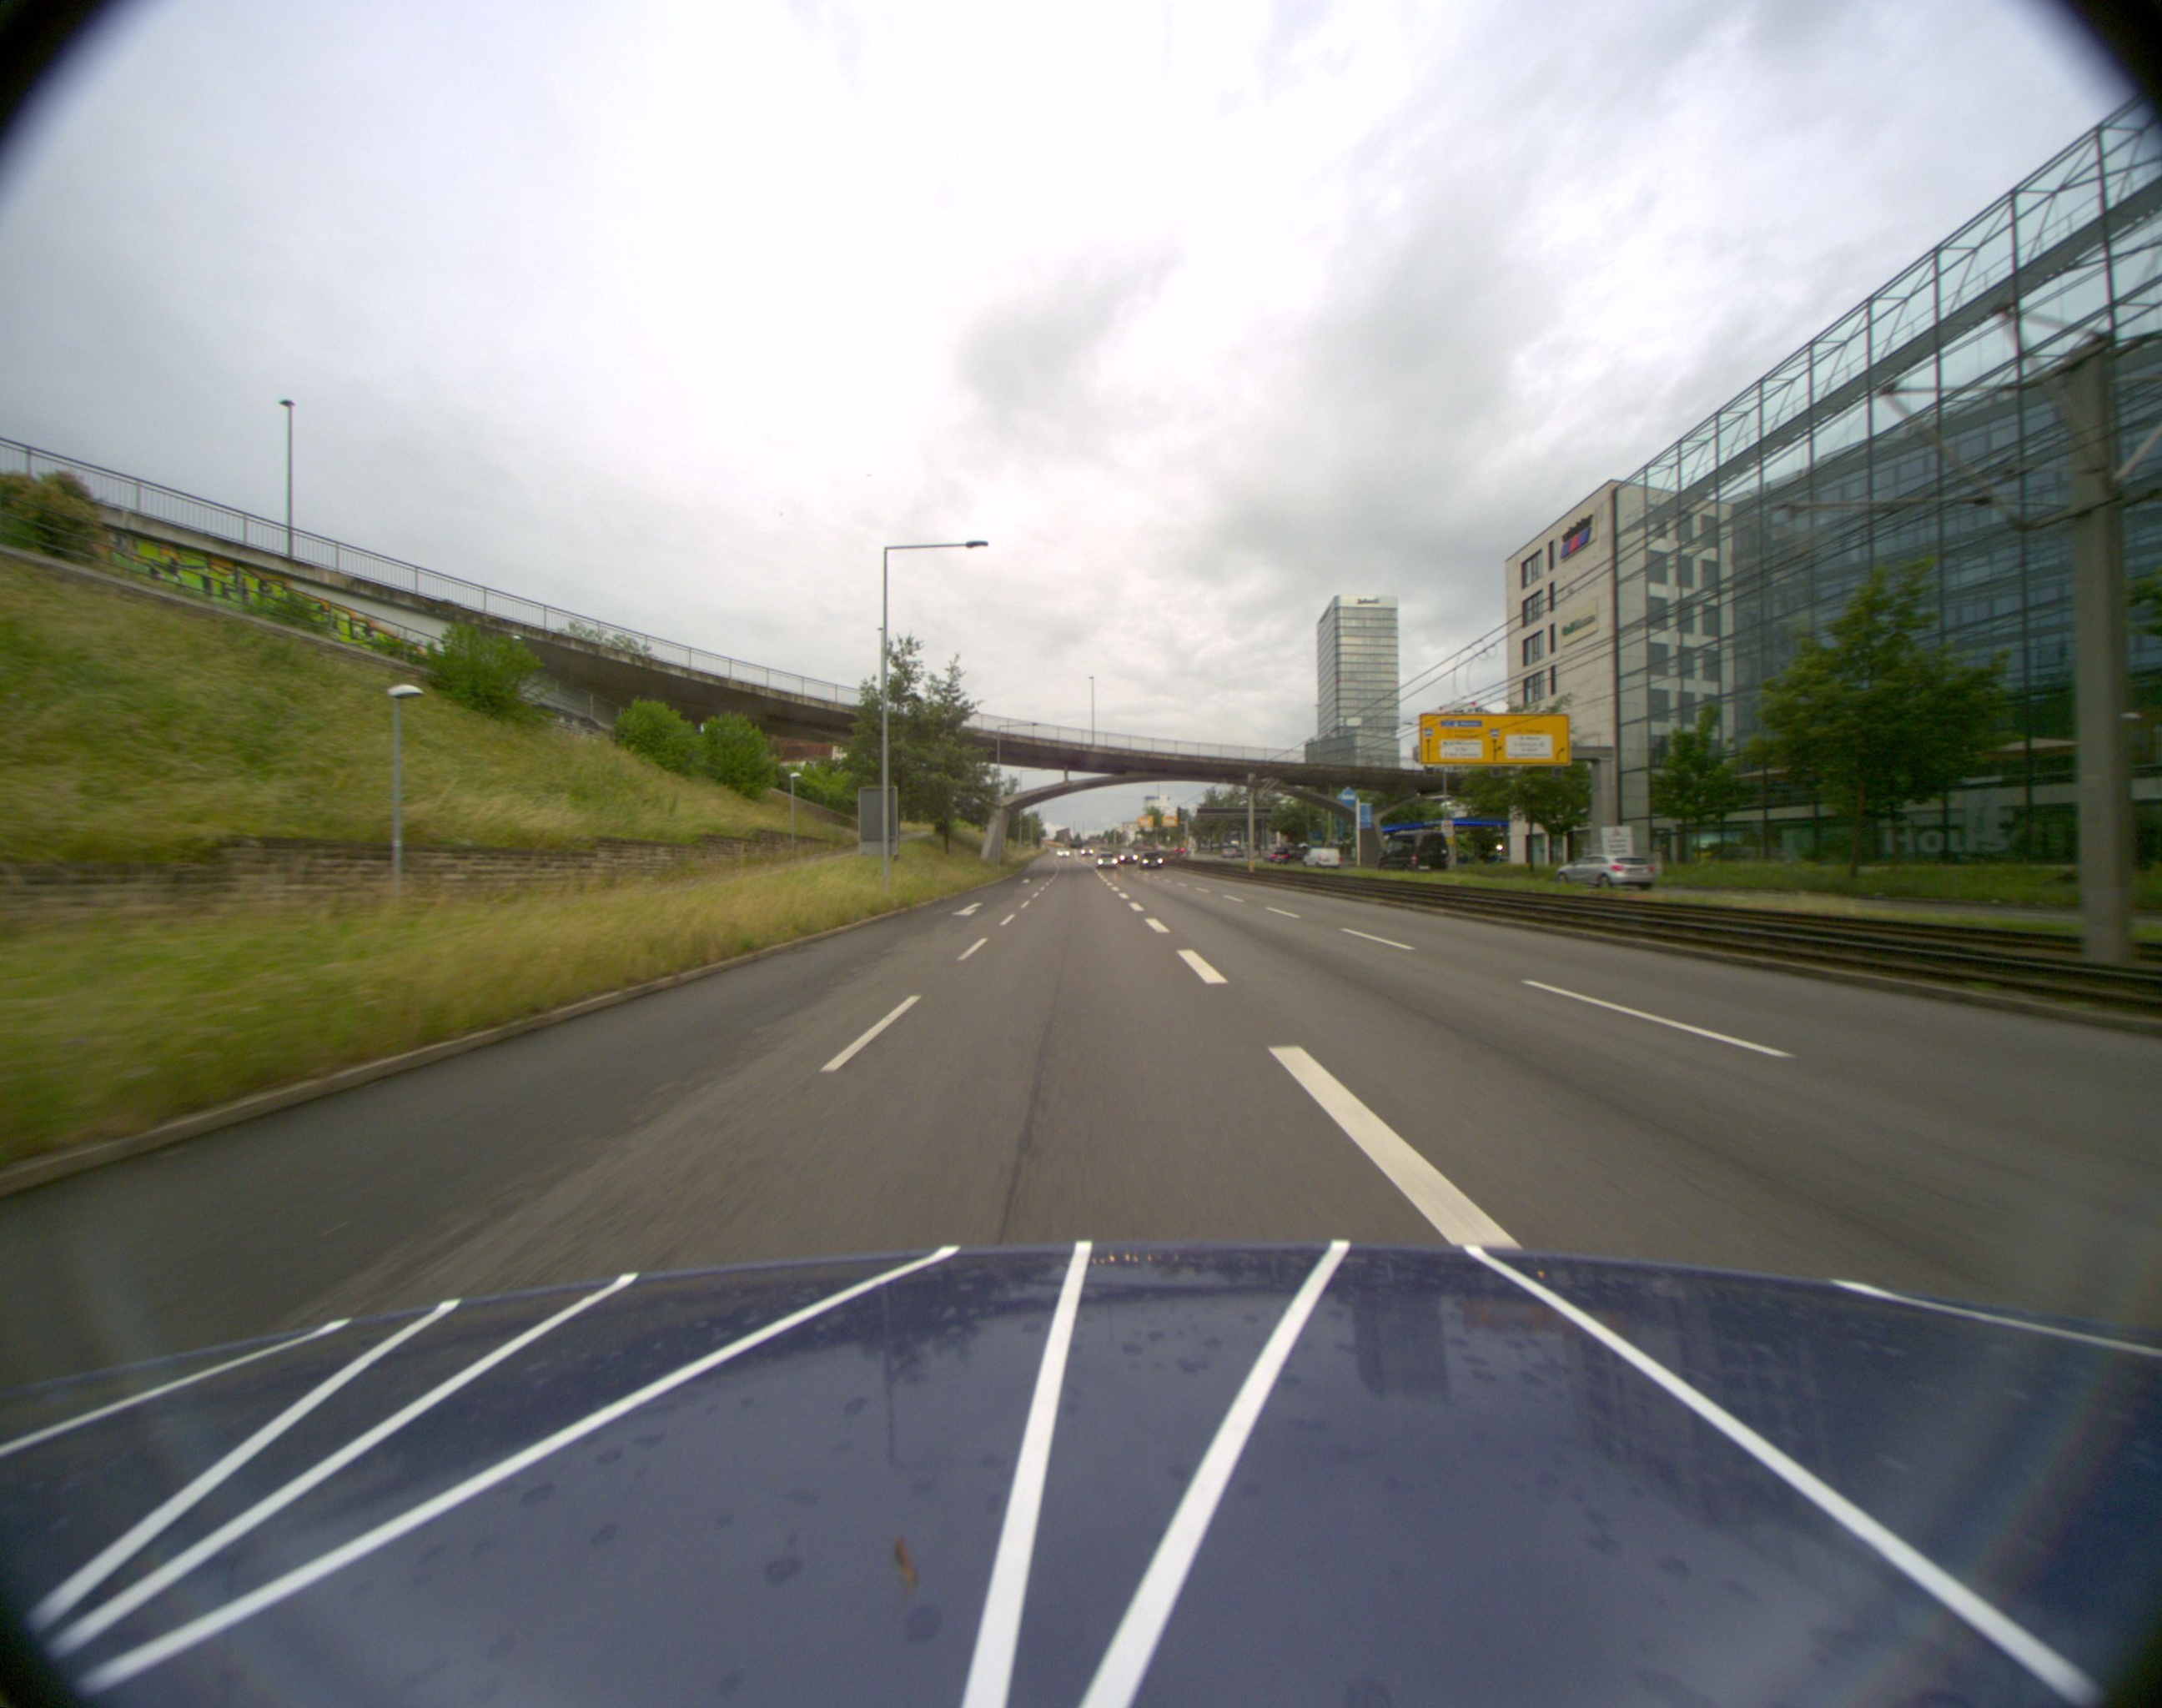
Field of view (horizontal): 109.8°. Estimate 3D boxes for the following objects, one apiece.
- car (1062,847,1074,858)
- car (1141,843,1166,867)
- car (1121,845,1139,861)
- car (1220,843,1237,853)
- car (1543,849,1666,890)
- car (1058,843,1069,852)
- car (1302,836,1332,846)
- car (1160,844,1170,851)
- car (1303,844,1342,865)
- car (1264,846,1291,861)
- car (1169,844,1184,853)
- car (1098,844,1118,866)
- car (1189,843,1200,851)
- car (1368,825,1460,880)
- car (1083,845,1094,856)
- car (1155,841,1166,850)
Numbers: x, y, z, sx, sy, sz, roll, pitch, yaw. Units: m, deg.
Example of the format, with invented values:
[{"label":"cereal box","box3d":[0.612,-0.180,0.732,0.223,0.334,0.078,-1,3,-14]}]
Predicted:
[{"label":"car","box3d":[-2.209,-0.315,130.200,1.794,1.622,4.376,-2,2,2]},{"label":"car","box3d":[6.236,0.052,65.857,1.794,1.858,4.376,-2,2,2]},{"label":"car","box3d":[5.392,-0.126,83.589,1.794,1.536,4.376,-2,2,2]},{"label":"car","box3d":[22.958,-0.905,118.541,1.814,1.524,4.274,-2,1,1]},{"label":"car","box3d":[21.863,0.590,32.027,1.764,1.524,4.816,-2,0,-1]},{"label":"car","box3d":[-3.464,-1.291,150.268,1.794,1.622,4.376,-2,2,2]},{"label":"car","box3d":[38.619,-2.155,124.354,4.363,1.495,1.885,-2,2,3]},{"label":"car","box3d":[18.260,-1.409,165.383,1.768,1.588,4.791,-2,0,1]},{"label":"car","box3d":[21.545,0.036,67.924,1.942,1.751,5.062,-2,0,1]},{"label":"car","box3d":[22.092,-0.105,85.592,1.814,1.597,4.490,-2,1,1]},{"label":"car","box3d":[17.525,-1.033,139.641,1.814,1.524,4.868,-2,0,-2]},{"label":"car","box3d":[2.576,0.050,71.730,1.794,1.858,4.376,-2,2,2]},{"label":"car","box3d":[25.165,-1.557,168.600,1.925,1.488,4.656,2,1,1]},{"label":"car","box3d":[18.616,-0.114,42.893,2.390,2.801,5.608,-2,1,-4]},{"label":"car","box3d":[1.265,-0.666,135.001,1.794,1.858,4.376,-2,2,2]},{"label":"car","box3d":[18.737,-1.991,178.184,1.925,1.766,4.223,-2,0,-2]}]
